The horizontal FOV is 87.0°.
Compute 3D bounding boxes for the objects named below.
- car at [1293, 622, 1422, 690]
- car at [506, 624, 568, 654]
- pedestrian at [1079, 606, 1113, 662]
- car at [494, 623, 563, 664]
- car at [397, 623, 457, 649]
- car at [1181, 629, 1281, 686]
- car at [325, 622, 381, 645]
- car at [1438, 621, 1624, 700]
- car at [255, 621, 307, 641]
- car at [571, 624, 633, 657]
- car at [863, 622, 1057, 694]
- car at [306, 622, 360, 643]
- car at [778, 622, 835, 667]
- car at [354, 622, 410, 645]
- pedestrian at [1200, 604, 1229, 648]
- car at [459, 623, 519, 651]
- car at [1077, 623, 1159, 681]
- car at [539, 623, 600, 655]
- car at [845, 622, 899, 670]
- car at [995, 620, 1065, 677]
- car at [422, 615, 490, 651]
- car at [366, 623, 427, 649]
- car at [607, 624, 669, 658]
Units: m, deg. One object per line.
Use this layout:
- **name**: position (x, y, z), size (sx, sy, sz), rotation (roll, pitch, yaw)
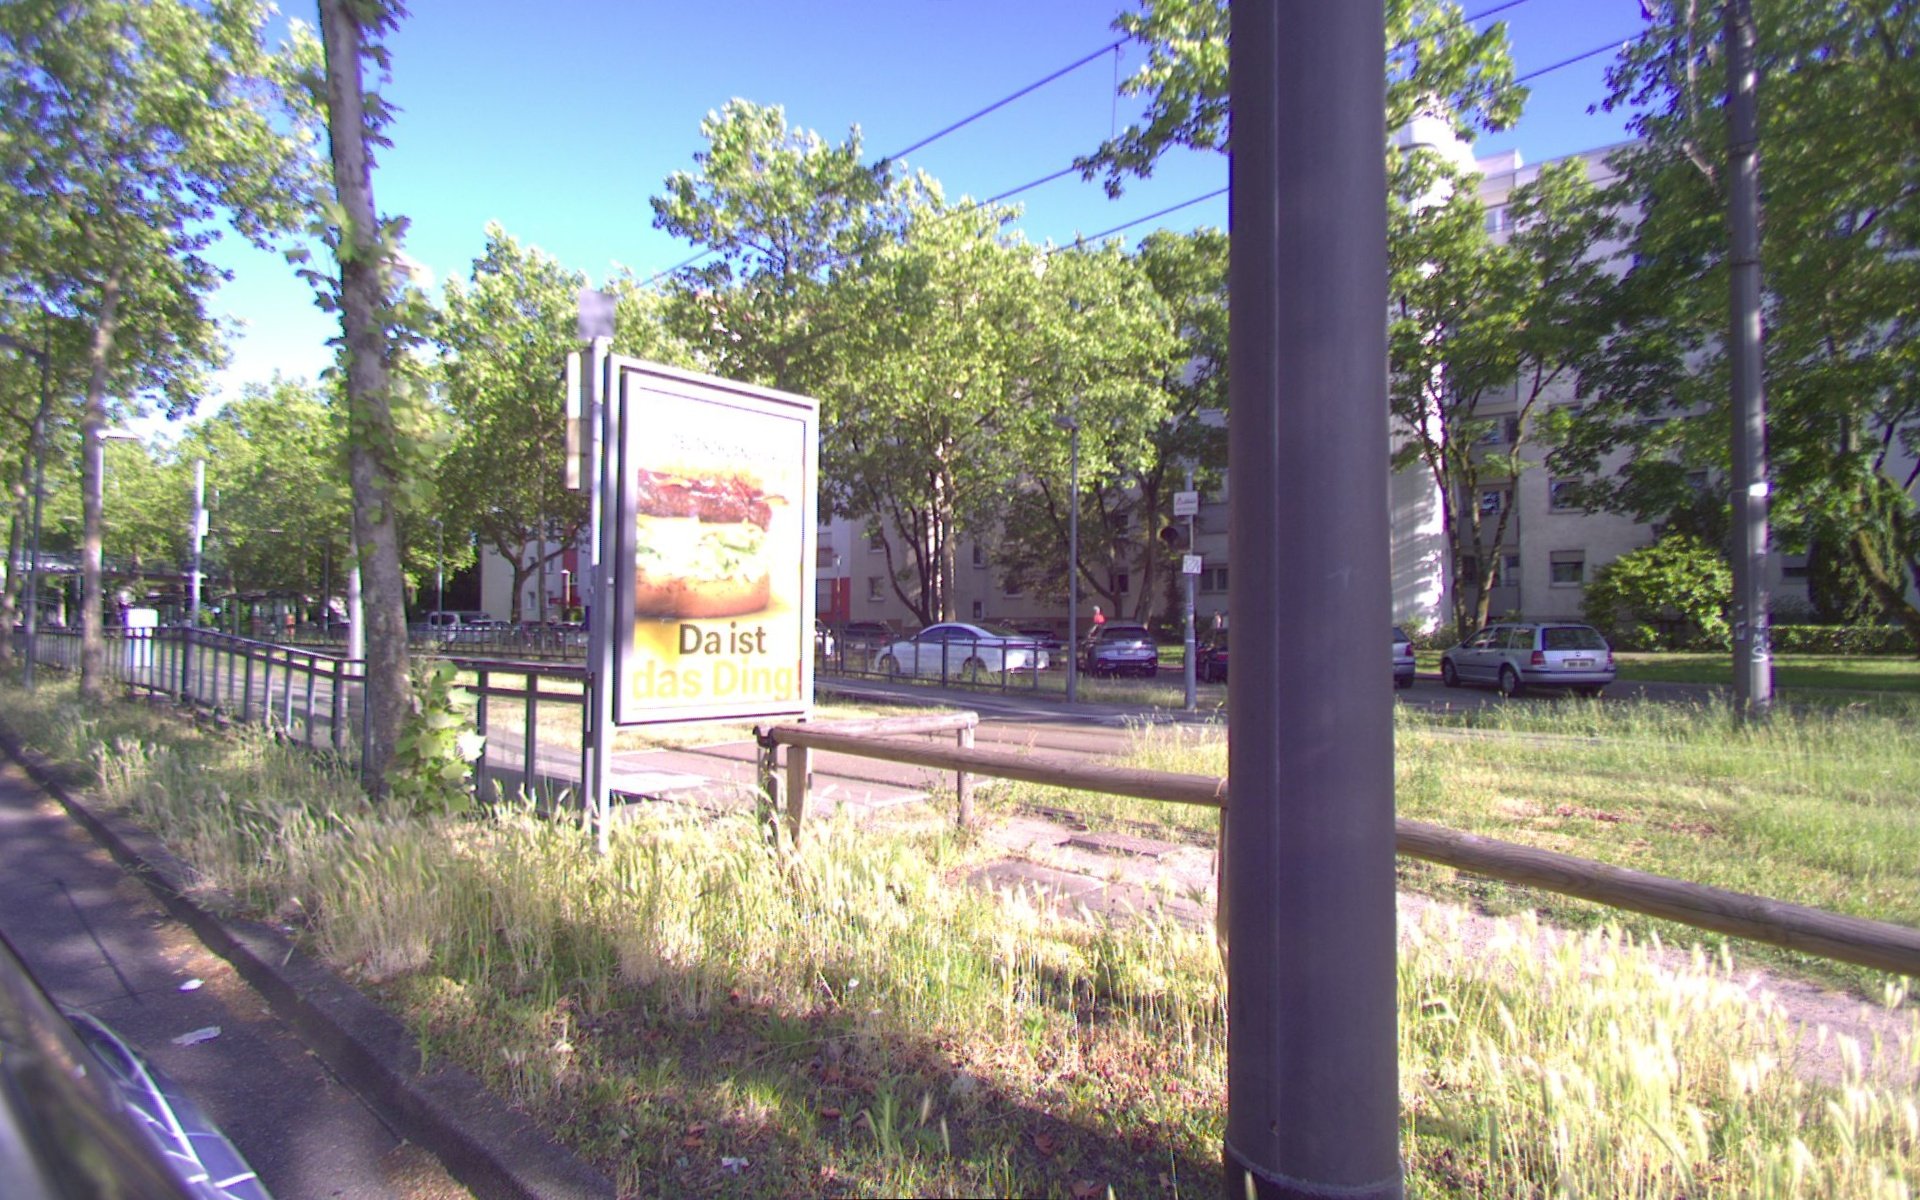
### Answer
- **car**: position (9.148, 1.241, 23.592), size (1.559, 1.413, 3.638), rotation (-1, -1, 0)
- **car**: position (-21.331, 1.944, 51.186), size (1.633, 1.452, 3.805), rotation (-1, -1, -2)
- **pedestrian**: position (4.409, 1.086, 32.763), size (0.786, 1.745, 0.755), rotation (-1, 0, 39)
- **car**: position (-17.431, 1.727, 40.845), size (2.817, 1.569, 1.558), rotation (-2, -1, 44)
- **car**: position (-31.326, 2.088, 59.601), size (1.633, 1.452, 3.805), rotation (-1, -1, -2)
- **car**: position (6.680, 1.381, 25.279), size (1.445, 1.234, 3.815), rotation (-1, -1, 0)
- **car**: position (-40.832, 2.232, 68.194), size (1.633, 1.452, 3.805), rotation (-1, -1, -2)
- **car**: position (11.479, 1.164, 20.667), size (1.559, 1.413, 3.906), rotation (-1, -1, 0)
- **car**: position (-53.044, 2.408, 79.155), size (1.633, 1.452, 3.805), rotation (-1, -1, -2)
- **car**: position (-16.621, 1.859, 47.161), size (1.633, 1.452, 3.805), rotation (-1, -1, -2)
- **car**: position (-0.096, 1.292, 23.788), size (4.641, 1.522, 1.634), rotation (-2, -1, 41)
- **car**: position (-44.973, 2.293, 72.683), size (1.633, 1.452, 3.805), rotation (-1, -1, -2)
- **car**: position (-5.560, 1.573, 37.020), size (1.633, 1.522, 3.805), rotation (-1, -1, -2)
- **car**: position (-37.879, 2.178, 66.381), size (1.633, 1.452, 3.805), rotation (-1, -1, -2)
- **pedestrian**: position (9.589, 0.984, 38.156), size (0.786, 1.635, 0.755), rotation (-1, 0, 39)
- **car**: position (-25.865, 2.004, 55.662), size (1.633, 1.452, 3.805), rotation (-1, -1, -2)
- **car**: position (4.223, 1.368, 27.521), size (1.633, 1.413, 3.803), rotation (-1, -1, 0)
- **car**: position (-19.039, 1.901, 49.542), size (1.633, 1.452, 3.805), rotation (-1, -1, -2)
- **car**: position (-2.970, 1.530, 34.651), size (1.633, 1.522, 3.805), rotation (-1, -1, -2)
- **car**: position (1.989, 1.358, 29.669), size (1.633, 1.522, 3.805), rotation (-1, -1, -2)
- **car**: position (-28.447, 1.829, 57.256), size (1.814, 1.888, 4.323), rotation (-1, -1, -2)
- **car**: position (-33.688, 2.119, 60.604), size (1.633, 1.452, 3.805), rotation (-1, -1, -2)
- **car**: position (-14.057, 1.769, 44.339), size (1.633, 1.366, 3.805), rotation (-1, -1, -2)
